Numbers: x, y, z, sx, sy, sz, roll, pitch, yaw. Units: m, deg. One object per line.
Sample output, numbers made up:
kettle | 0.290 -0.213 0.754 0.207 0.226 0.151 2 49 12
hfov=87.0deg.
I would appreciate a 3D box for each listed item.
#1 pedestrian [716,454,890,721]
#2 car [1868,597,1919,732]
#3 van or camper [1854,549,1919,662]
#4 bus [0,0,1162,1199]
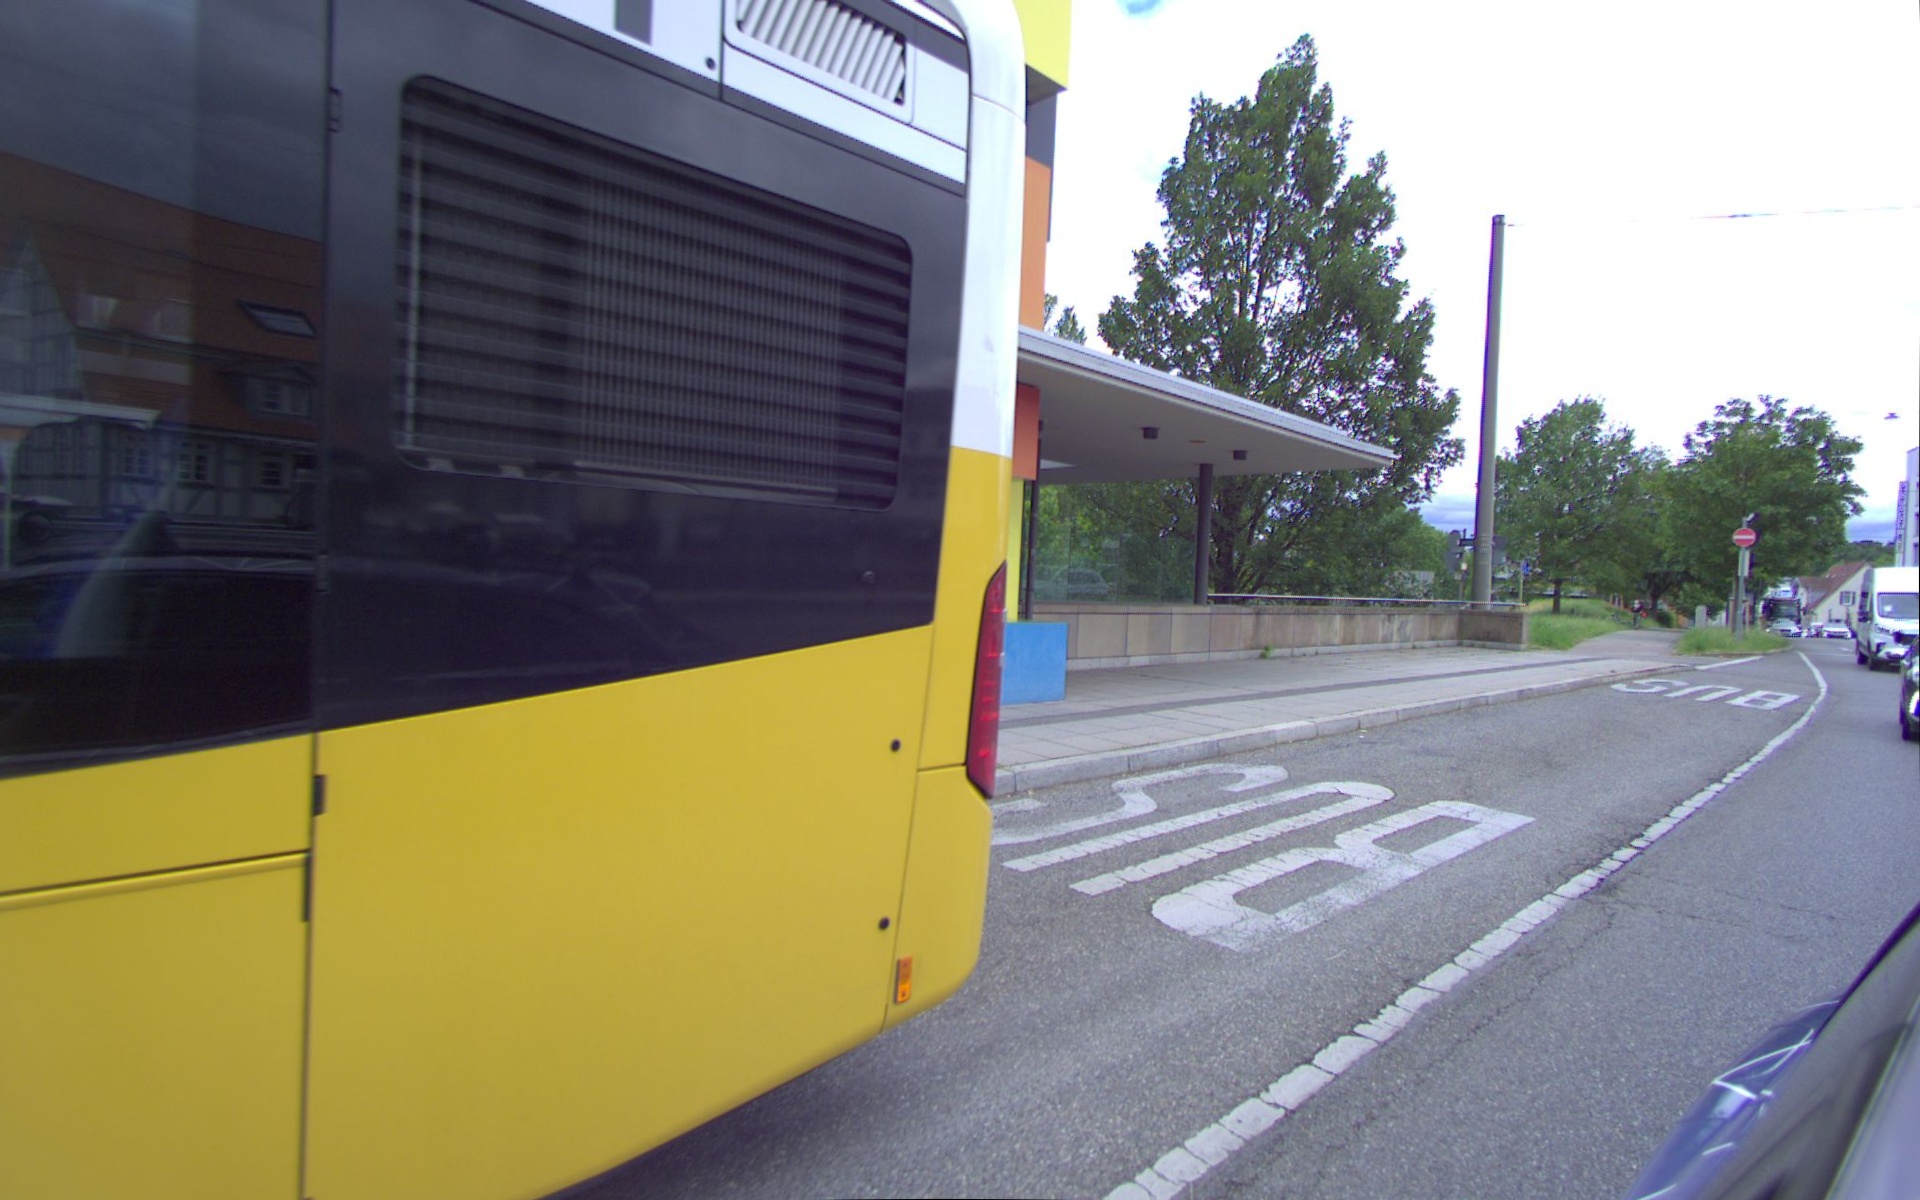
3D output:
pedestrian | -1.323 -0.129 8.438 0.865 2.038 1.142 1 3 -43
car | 12.683 0.800 12.317 1.853 1.543 3.950 4 3 35
van or camper | 25.923 0.153 27.284 2.271 2.739 6.896 5 3 39
bus | -3.622 -0.276 0.662 8.720 3.146 2.716 1 3 -43
